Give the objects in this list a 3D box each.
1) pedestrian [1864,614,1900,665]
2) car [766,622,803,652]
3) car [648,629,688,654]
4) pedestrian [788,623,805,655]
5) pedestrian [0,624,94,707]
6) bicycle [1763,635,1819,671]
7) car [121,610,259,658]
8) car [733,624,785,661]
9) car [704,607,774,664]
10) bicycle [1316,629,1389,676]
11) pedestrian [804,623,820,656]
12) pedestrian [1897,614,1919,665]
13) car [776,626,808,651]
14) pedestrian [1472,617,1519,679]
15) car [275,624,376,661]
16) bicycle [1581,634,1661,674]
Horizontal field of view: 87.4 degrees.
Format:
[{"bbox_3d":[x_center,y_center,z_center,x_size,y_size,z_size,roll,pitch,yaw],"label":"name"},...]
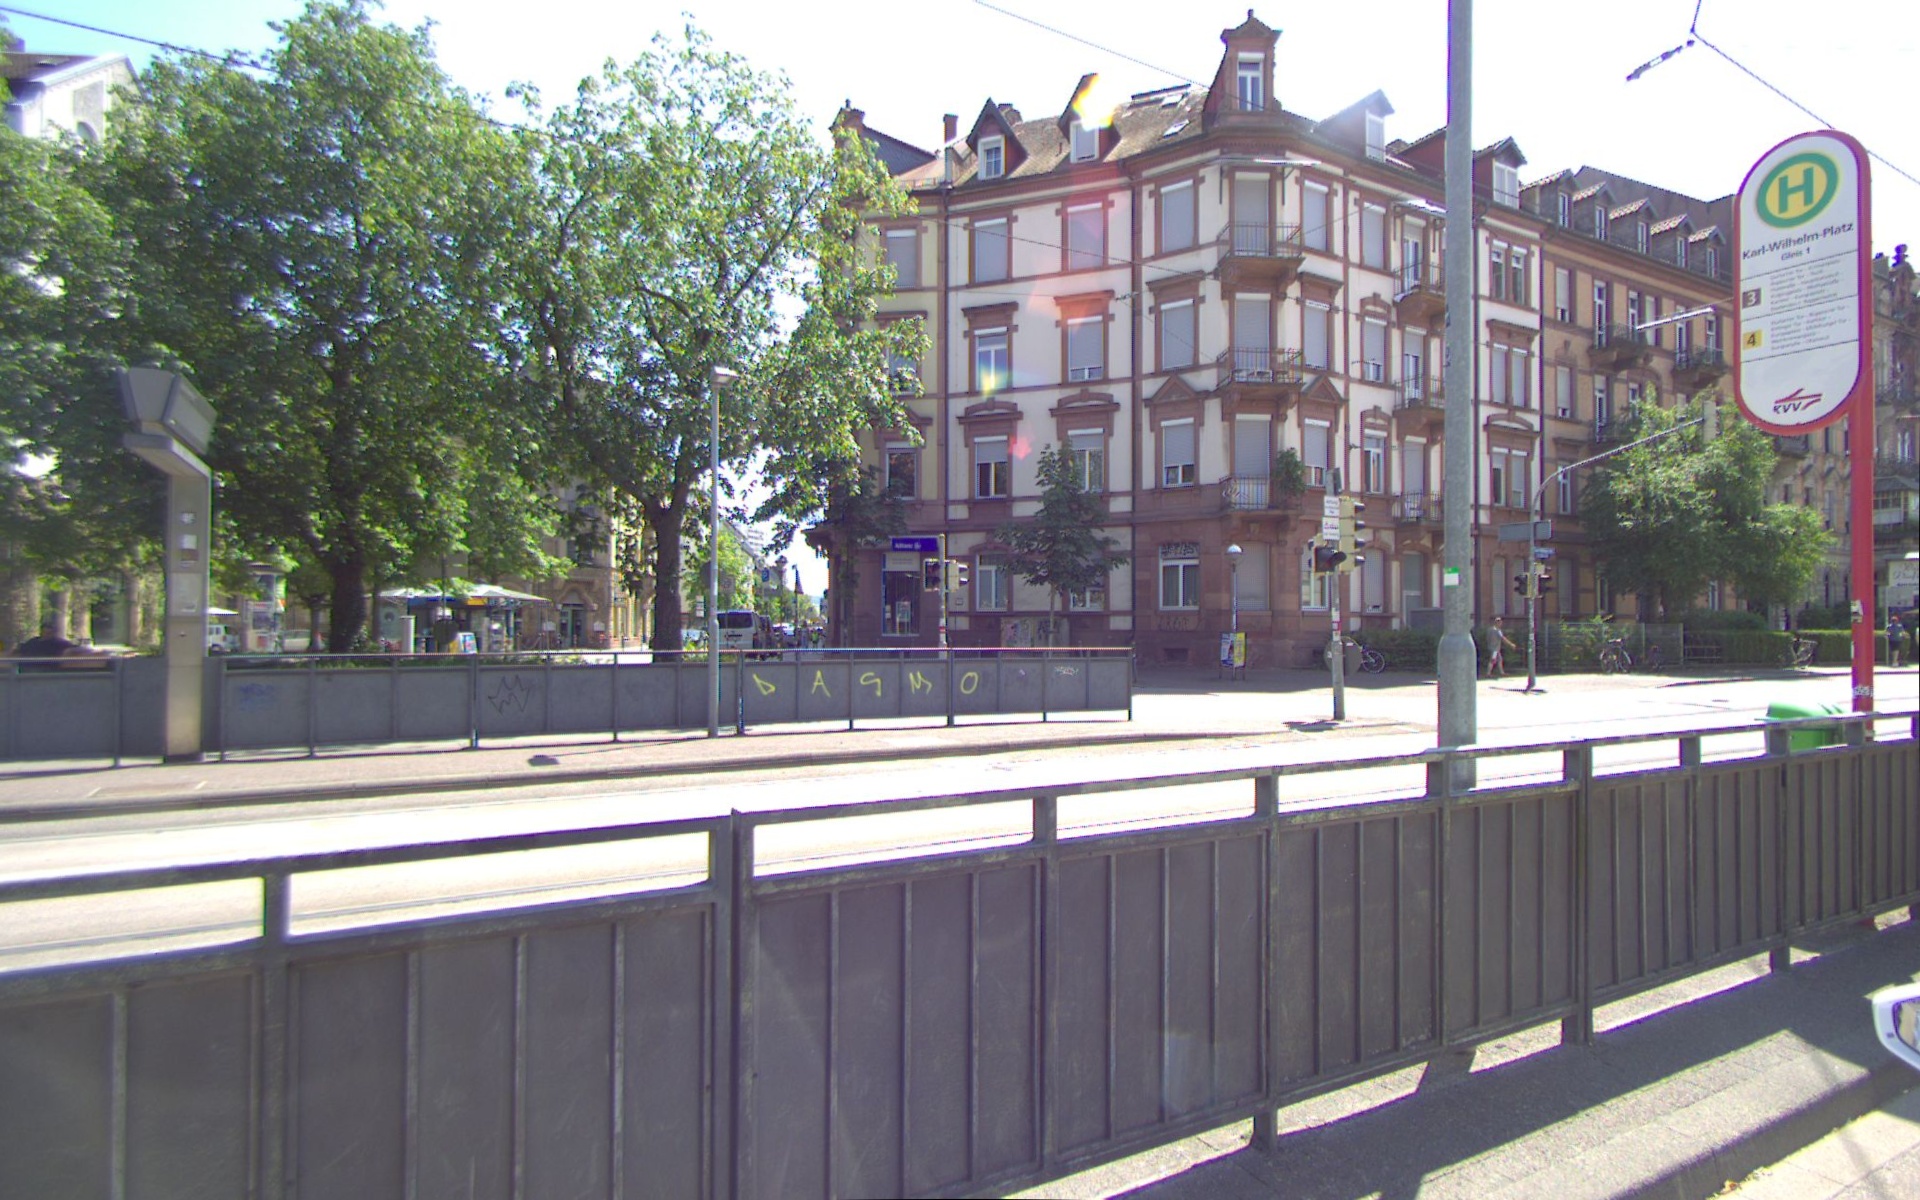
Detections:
[{"bbox_3d":[34.323,1.452,37.385,0.865,1.847,0.810,0,1,-35],"label":"pedestrian"},{"bbox_3d":[-10.374,2.173,59.462,1.684,1.617,3.998,2,0,-4],"label":"car"},{"bbox_3d":[-20.660,2.911,71.172,1.846,1.617,3.998,2,0,-4],"label":"car"},{"bbox_3d":[-8.264,1.982,50.873,0.790,1.632,0.731,0,-1,-4],"label":"pedestrian"},{"bbox_3d":[-14.661,1.042,16.113,0.925,1.261,0.860,2,0,-24],"label":"pedestrian"},{"bbox_3d":[28.533,1.802,34.482,2.750,1.151,0.930,2,0,-39],"label":"bicycle"},{"bbox_3d":[-31.190,1.363,40.824,3.932,1.814,1.994,2,0,-14],"label":"car"},{"bbox_3d":[-9.626,2.007,48.297,1.893,1.541,3.998,2,0,-4],"label":"car"},{"bbox_3d":[-8.329,1.296,38.225,1.962,1.970,3.998,2,0,-4],"label":"car"},{"bbox_3d":[11.664,1.556,29.870,1.923,1.312,0.564,2,0,11],"label":"bicycle"},{"bbox_3d":[-7.494,2.003,50.933,0.742,1.632,0.688,0,-1,-4],"label":"pedestrian"},{"bbox_3d":[35.177,1.458,36.970,0.865,1.847,0.810,0,1,-35],"label":"pedestrian"},{"bbox_3d":[-12.484,2.839,74.766,1.962,1.617,3.998,2,0,-4],"label":"car"},{"bbox_3d":[15.224,1.359,28.566,1.041,1.712,0.723,0,-1,17],"label":"pedestrian"},{"bbox_3d":[-32.076,2.155,50.899,3.920,1.730,1.761,2,0,-14],"label":"car"},{"bbox_3d":[20.228,1.644,30.724,2.742,1.151,0.932,2,0,-31],"label":"bicycle"}]
